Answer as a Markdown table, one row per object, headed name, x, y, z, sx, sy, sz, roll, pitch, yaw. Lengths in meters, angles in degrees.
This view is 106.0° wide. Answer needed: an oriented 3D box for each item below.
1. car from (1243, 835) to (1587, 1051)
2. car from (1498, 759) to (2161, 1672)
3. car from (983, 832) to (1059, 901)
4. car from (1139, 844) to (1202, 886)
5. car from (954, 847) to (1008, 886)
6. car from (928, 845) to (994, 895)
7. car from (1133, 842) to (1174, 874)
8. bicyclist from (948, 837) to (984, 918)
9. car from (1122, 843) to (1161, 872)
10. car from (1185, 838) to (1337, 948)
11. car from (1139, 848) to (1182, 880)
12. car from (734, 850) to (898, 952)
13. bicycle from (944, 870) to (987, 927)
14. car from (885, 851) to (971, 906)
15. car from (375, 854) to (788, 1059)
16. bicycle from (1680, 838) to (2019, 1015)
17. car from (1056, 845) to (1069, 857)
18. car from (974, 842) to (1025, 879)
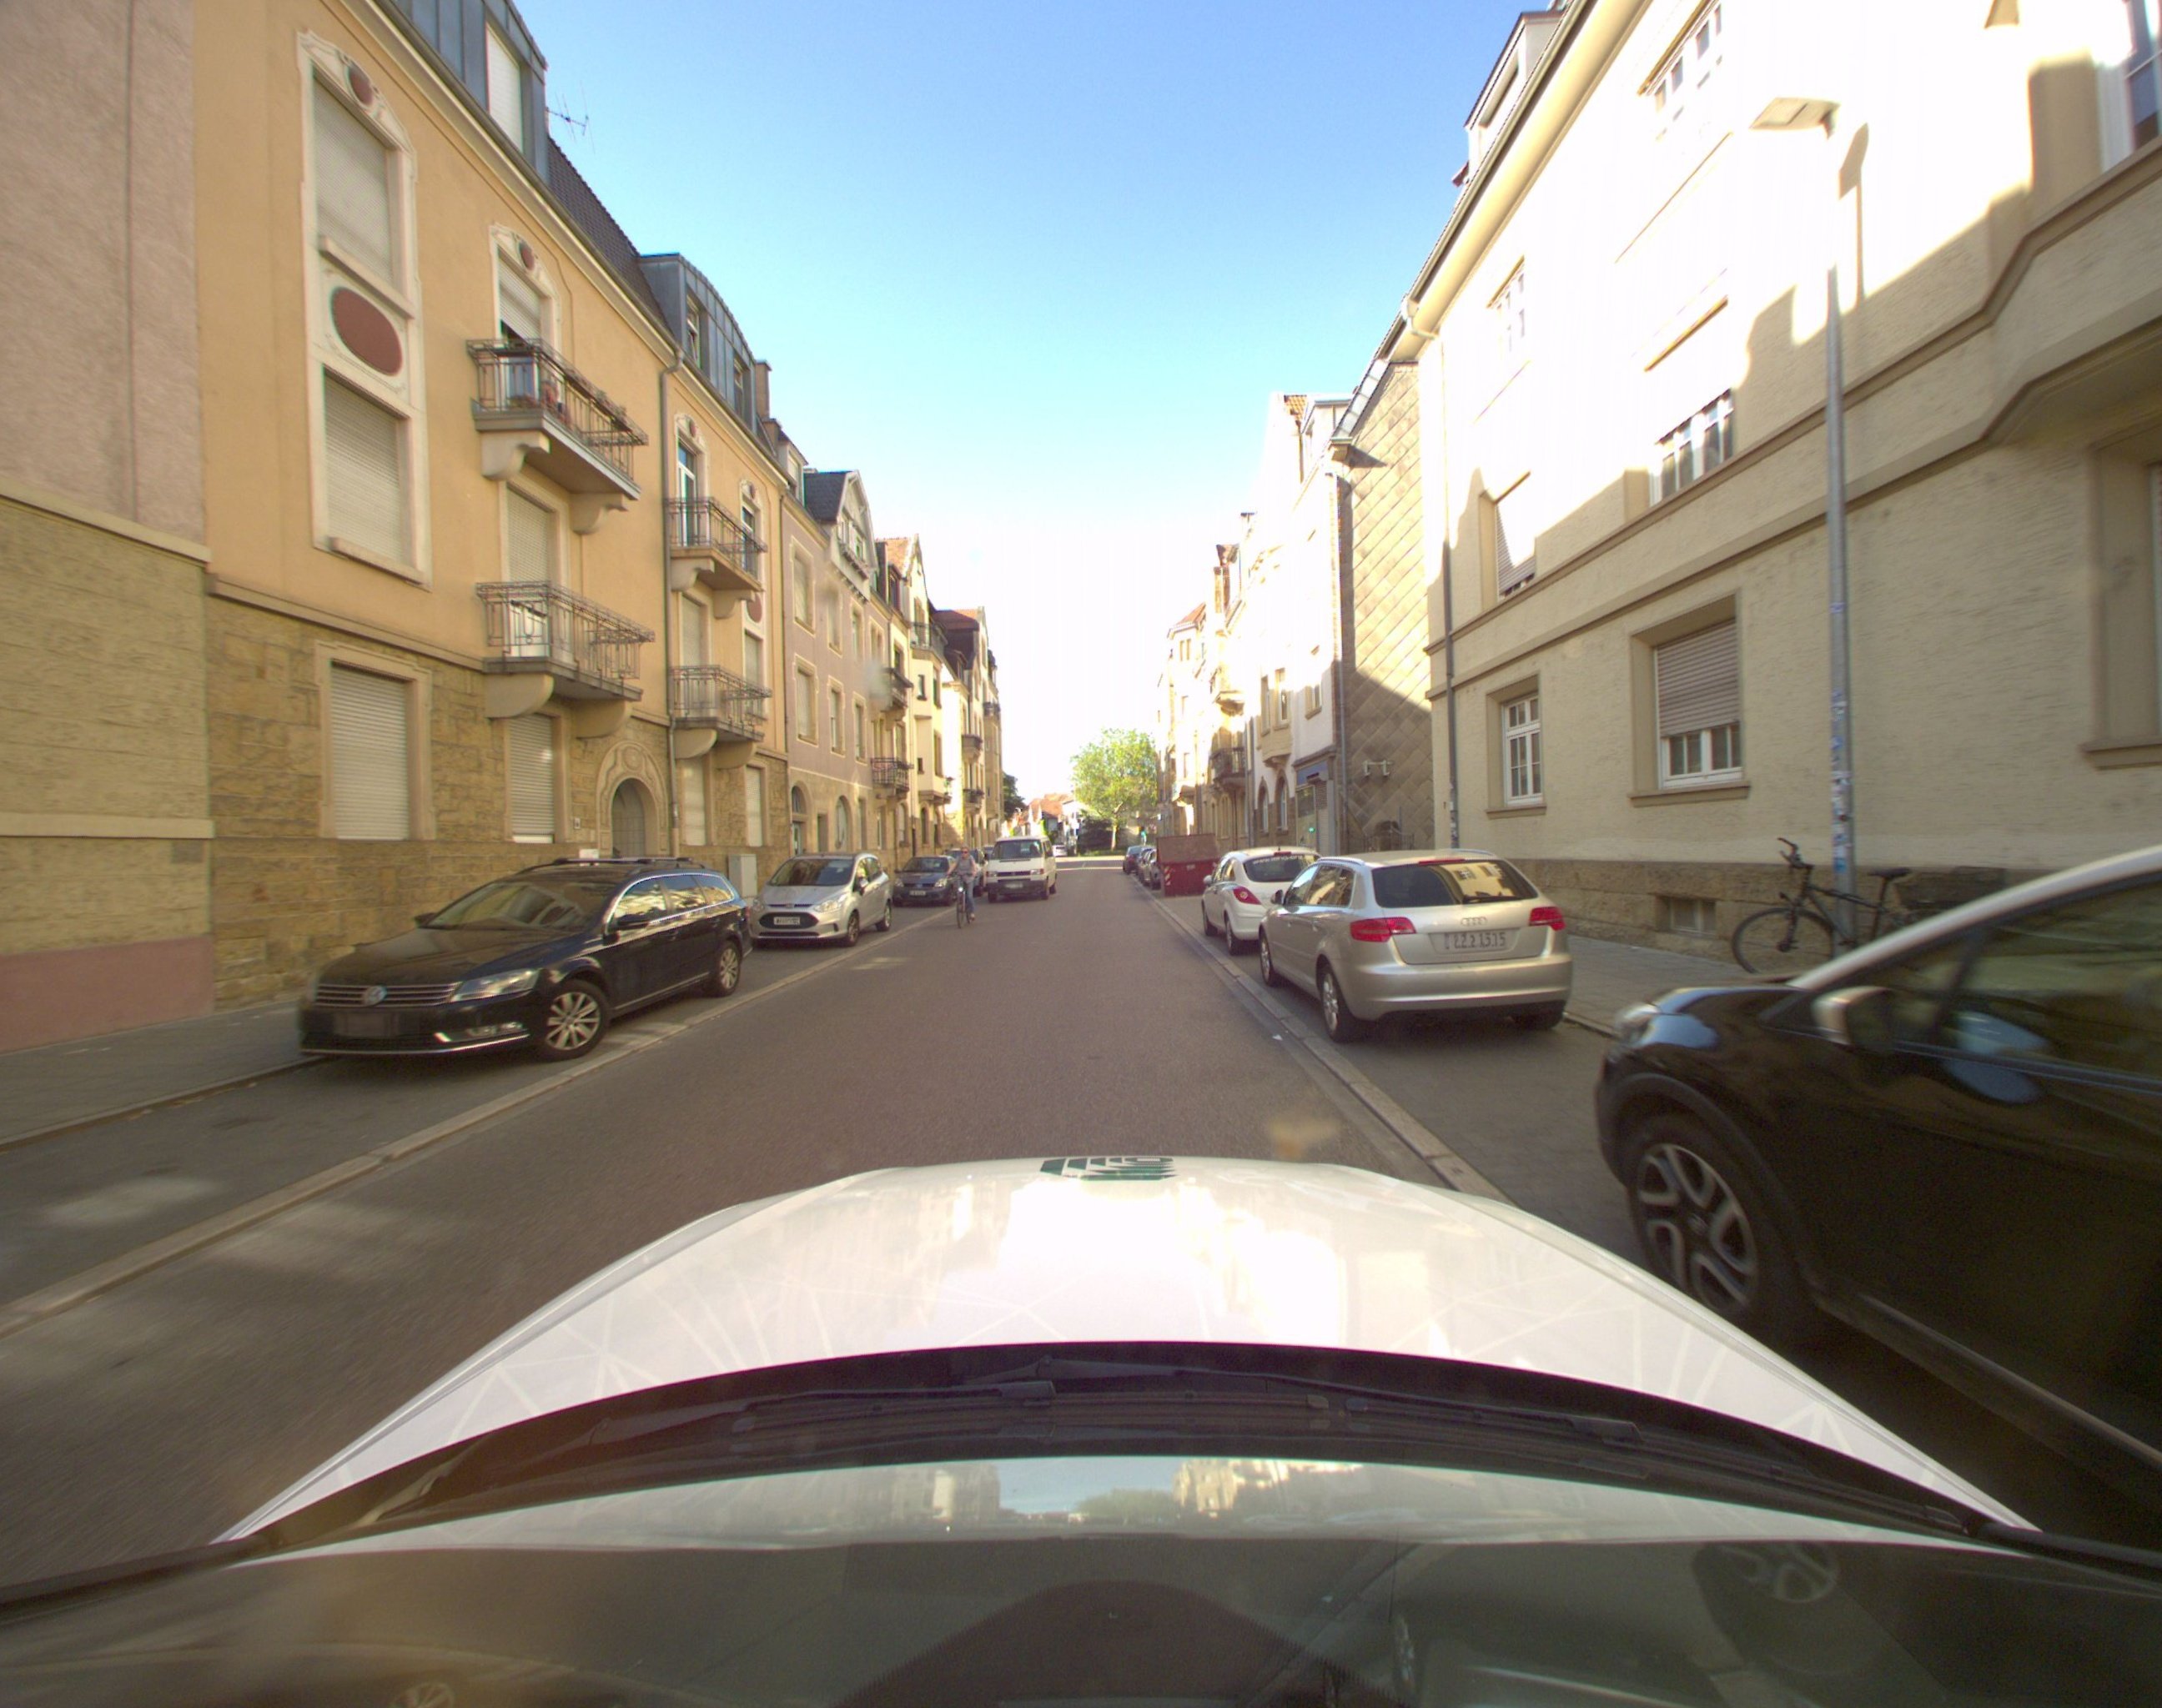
| name | x | y | z | sx | sy | sz | roll | pitch | yaw |
| --- | --- | --- | --- | --- | --- | --- | --- | --- | --- |
| car | 2.761 | 0.603 | 7.791 | 1.647 | 1.464 | 4.095 | -2 | 1 | 1 |
| car | 2.655 | 0.572 | 1.718 | 1.673 | 1.546 | 3.918 | -3 | 1 | 3 |
| car | -1.810 | 0.333 | 25.958 | 1.856 | 1.937 | 4.602 | -2 | 1 | 2 |
| car | 3.237 | 0.363 | 30.228 | 1.781 | 1.429 | 3.805 | -2 | 1 | -2 |
| car | -4.090 | 0.467 | 33.966 | 1.567 | 1.487 | 4.282 | 0 | 1 | 2 |
| car | -4.114 | 0.493 | 28.469 | 1.709 | 1.583 | 4.020 | 2 | 1 | -1 |
| car | 3.511 | 0.147 | 40.098 | 1.645 | 1.442 | 4.259 | -2 | 1 | 0 |
| bicyclist | -2.433 | 0.489 | 17.313 | 0.605 | 1.665 | 0.632 | -2 | 0 | 2 |
| car | 3.285 | 0.145 | 44.694 | 1.859 | 1.462 | 4.340 | -1 | 1 | 1 |
| car | 2.738 | 0.522 | 13.181 | 1.581 | 1.464 | 3.711 | -2 | 1 | 0 |
| car | 3.326 | 0.387 | 34.766 | 1.685 | 1.254 | 3.945 | -1 | 1 | 4 |
| car | -4.604 | 0.725 | 14.724 | 1.709 | 1.538 | 3.723 | -1 | 1 | 0 |
| bicycle | -2.423 | 0.914 | 17.207 | 0.538 | 1.076 | 1.801 | -2 | 1 | 3 |
| car | -4.382 | 0.665 | 23.809 | 1.666 | 1.393 | 3.668 | 2 | 1 | 2 |
| car | -4.730 | 0.820 | 8.564 | 1.709 | 1.521 | 4.110 | -2 | 1 | 1 |
| bicycle | 6.035 | 0.487 | 6.602 | 0.828 | 1.201 | 1.953 | -1 | 1 | -4 |
| car | -2.423 | -0.418 | 106.640 | 1.669 | 1.482 | 3.520 | -1 | 0 | -1 |
| car | -4.021 | 0.270 | 41.091 | 1.885 | 1.722 | 4.728 | 2 | 1 | 2 |
